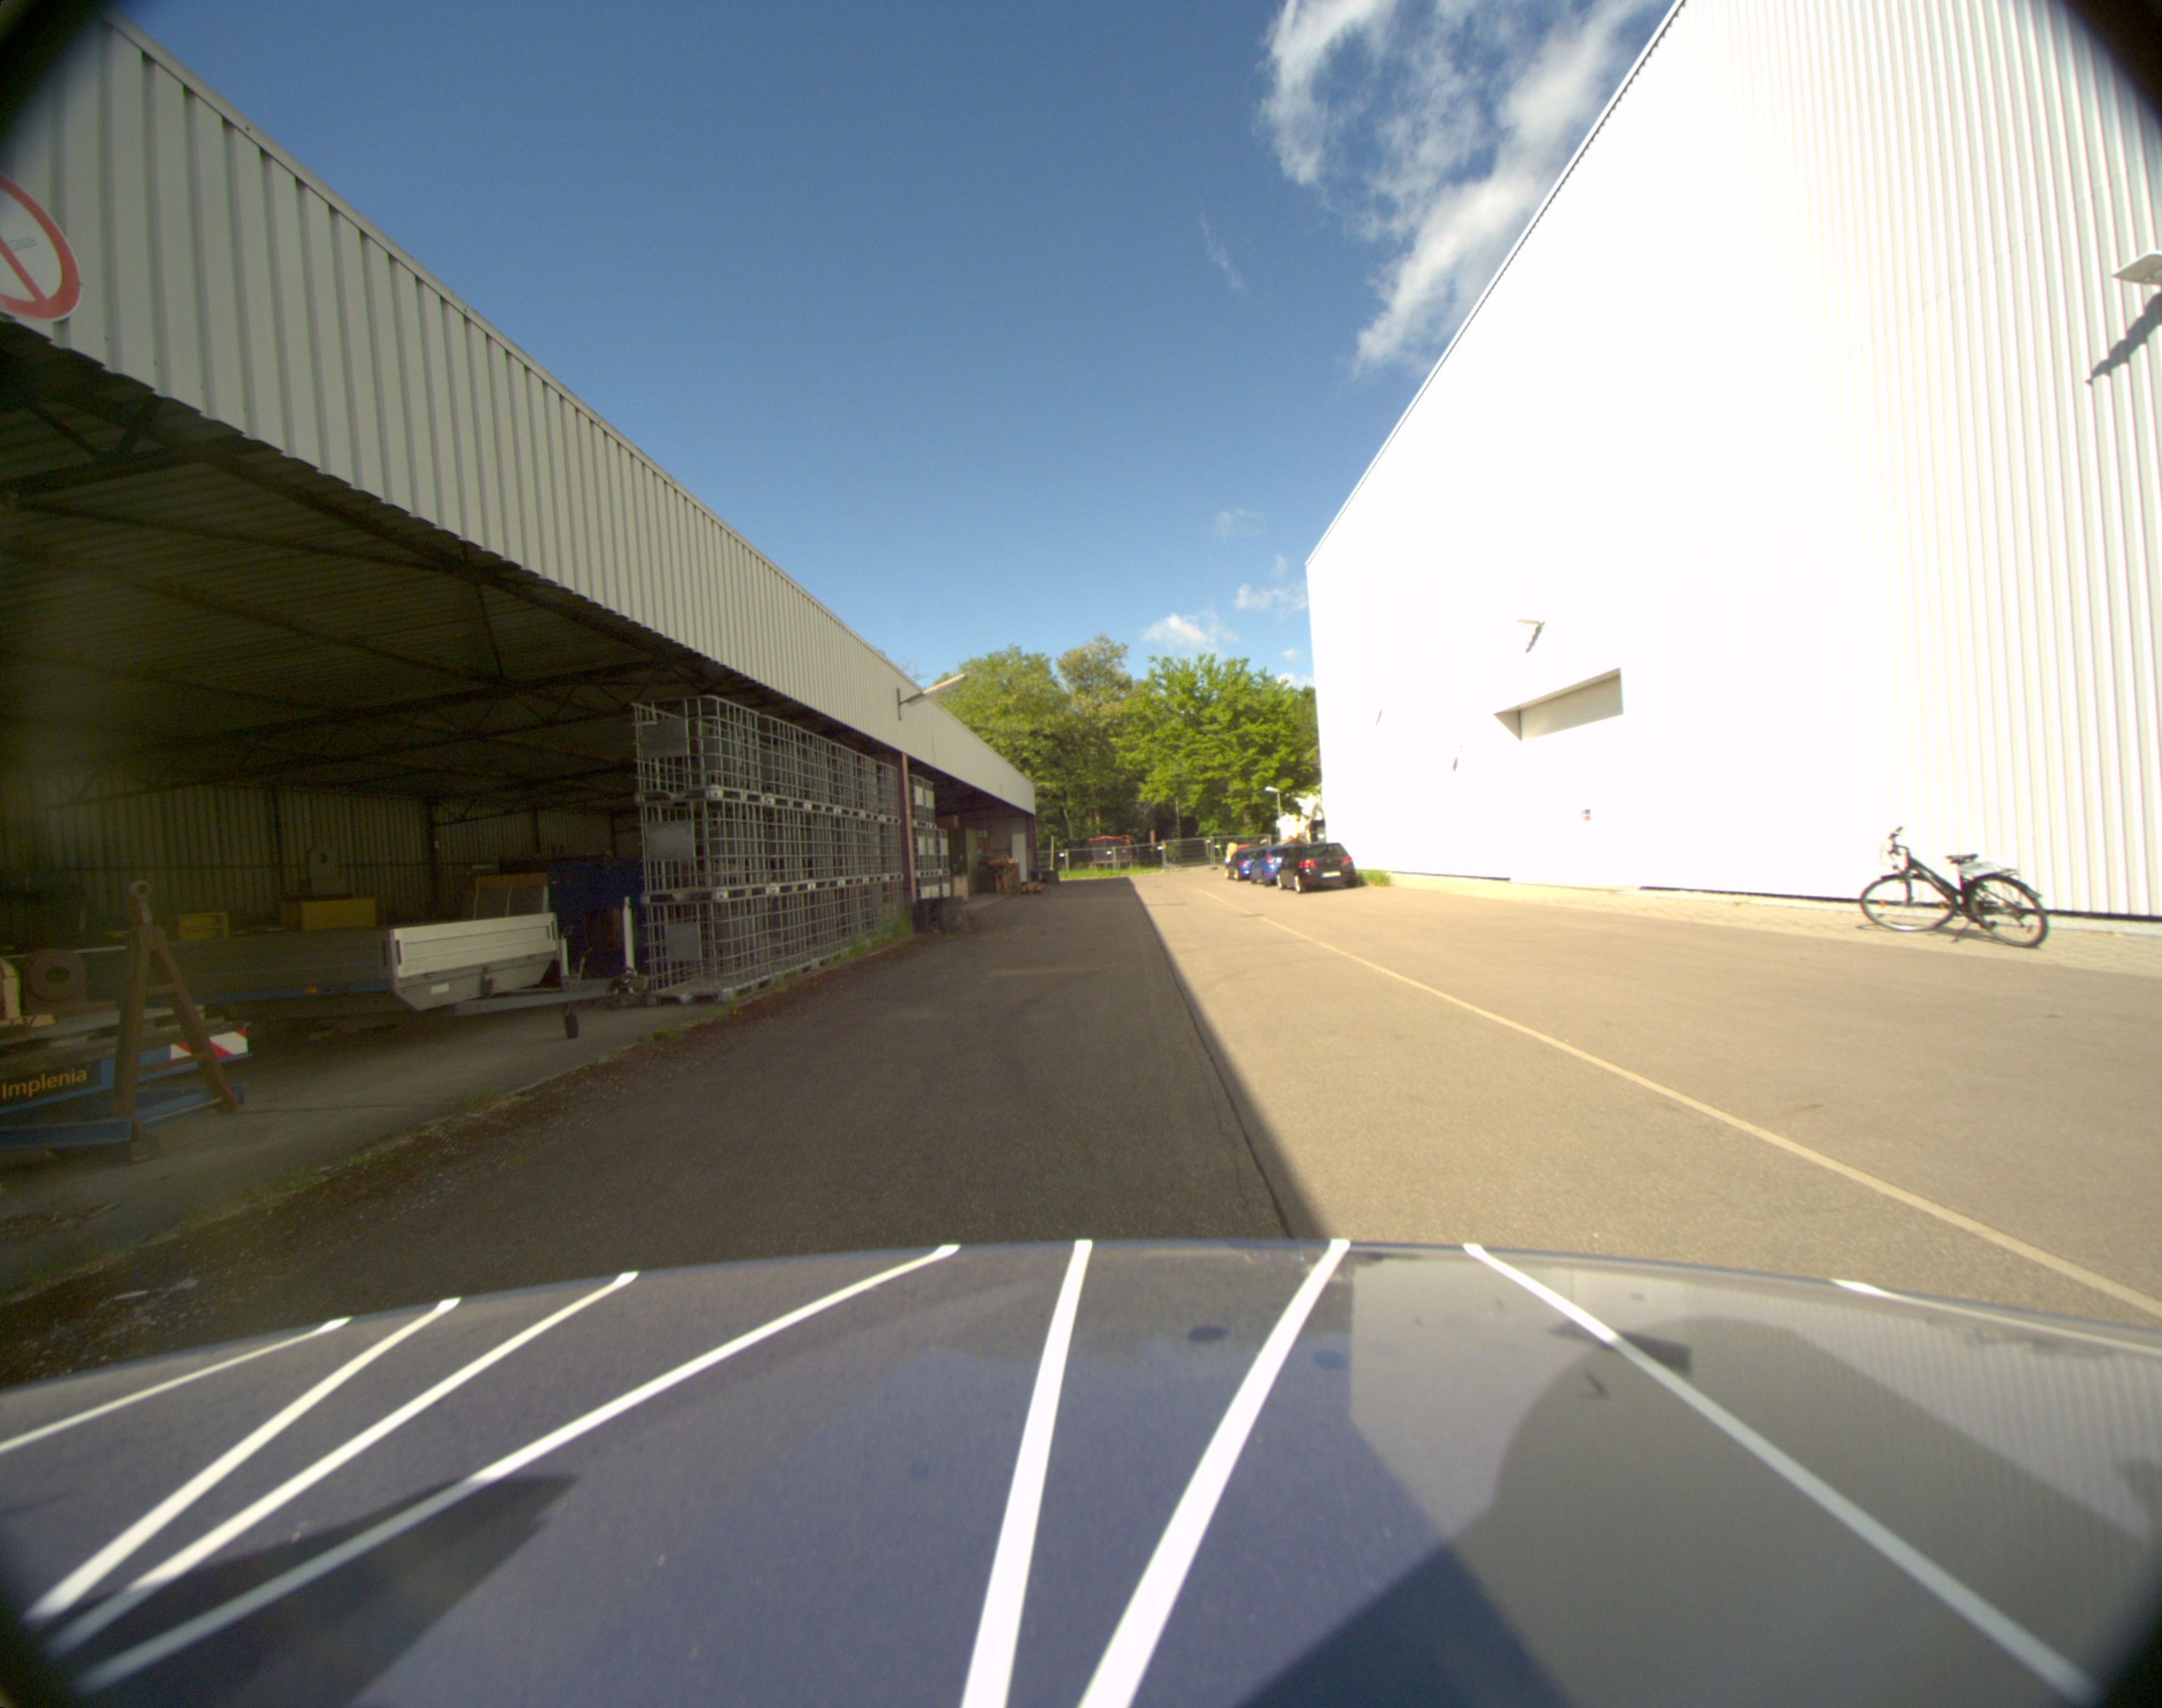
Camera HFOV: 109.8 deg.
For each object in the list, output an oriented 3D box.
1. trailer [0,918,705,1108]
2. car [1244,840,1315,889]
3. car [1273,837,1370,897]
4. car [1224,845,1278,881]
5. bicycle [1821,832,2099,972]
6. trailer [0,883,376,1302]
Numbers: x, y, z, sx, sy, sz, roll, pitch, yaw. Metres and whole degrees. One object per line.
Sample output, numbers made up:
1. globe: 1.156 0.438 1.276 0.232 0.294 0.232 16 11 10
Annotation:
1. trailer: -6.913 1.379 7.018 5.836 1.113 2.029 -3 0 2
2. car: 7.471 0.360 28.910 1.789 1.513 4.001 -7 0 5
3. car: 7.358 0.357 23.658 1.895 1.513 4.001 -7 0 4
4. car: 7.621 0.379 34.411 1.789 1.431 4.001 -3 0 4
5. bicycle: 8.672 0.413 7.661 0.909 1.136 1.901 -7 0 18
6. trailer: -6.798 1.116 3.658 4.879 1.619 2.029 -3 0 2
